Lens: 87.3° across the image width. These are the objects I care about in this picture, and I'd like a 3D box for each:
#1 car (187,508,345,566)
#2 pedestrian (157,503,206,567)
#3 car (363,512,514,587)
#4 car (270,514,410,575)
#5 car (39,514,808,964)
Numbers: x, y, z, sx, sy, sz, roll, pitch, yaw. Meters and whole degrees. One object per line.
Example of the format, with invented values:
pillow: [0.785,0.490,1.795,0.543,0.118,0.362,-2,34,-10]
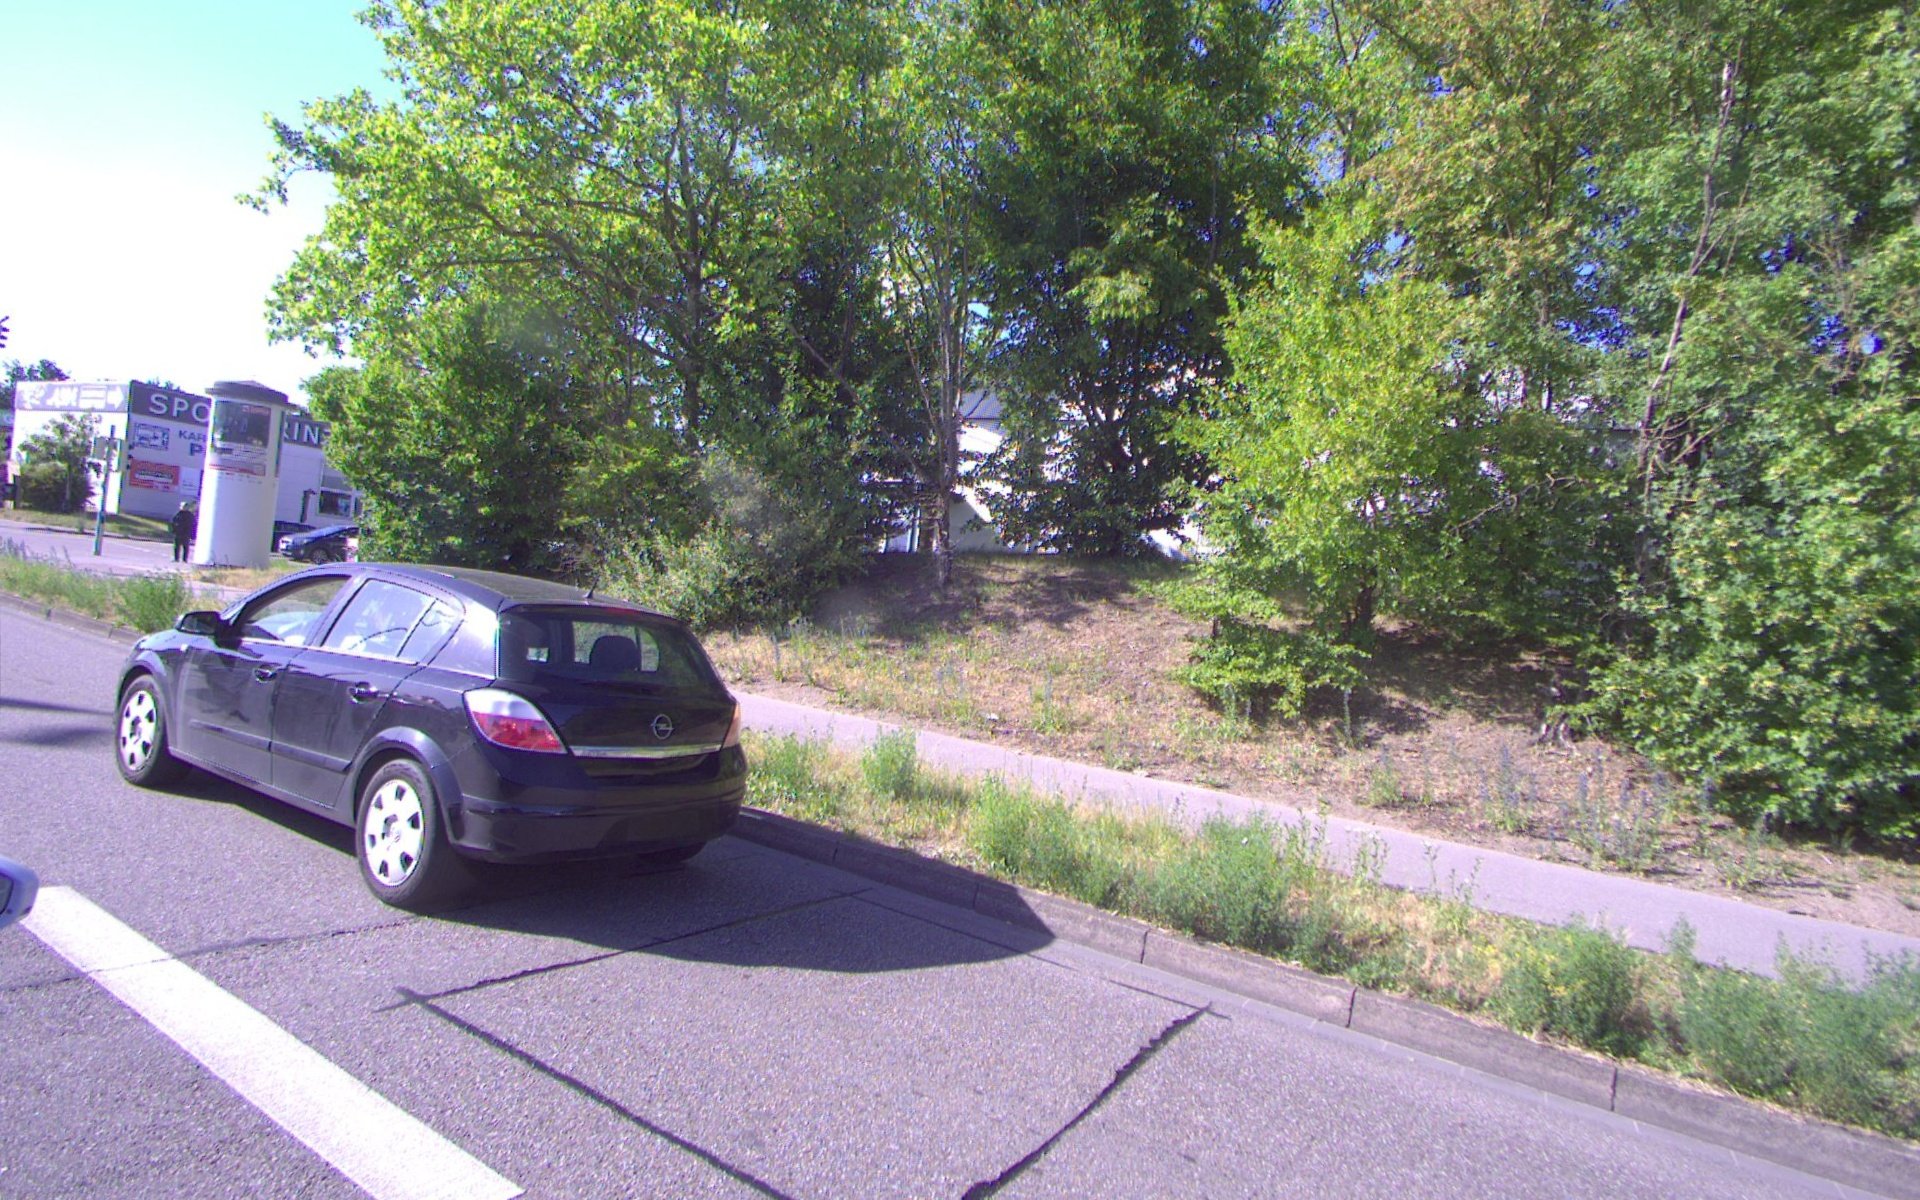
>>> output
car: [-27.530,-2.469,40.085,1.729,1.484,4.831,6,-2,30]
pedestrian: [-22.320,-1.865,28.848,0.506,1.688,0.818,7,-1,31]
car: [-23.941,-2.261,46.456,1.967,2.705,5.840,6,0,32]
car: [-24.283,-2.128,39.565,1.611,1.668,4.316,6,-2,31]
car: [-3.140,0.507,5.619,4.299,1.458,1.737,7,-2,32]
